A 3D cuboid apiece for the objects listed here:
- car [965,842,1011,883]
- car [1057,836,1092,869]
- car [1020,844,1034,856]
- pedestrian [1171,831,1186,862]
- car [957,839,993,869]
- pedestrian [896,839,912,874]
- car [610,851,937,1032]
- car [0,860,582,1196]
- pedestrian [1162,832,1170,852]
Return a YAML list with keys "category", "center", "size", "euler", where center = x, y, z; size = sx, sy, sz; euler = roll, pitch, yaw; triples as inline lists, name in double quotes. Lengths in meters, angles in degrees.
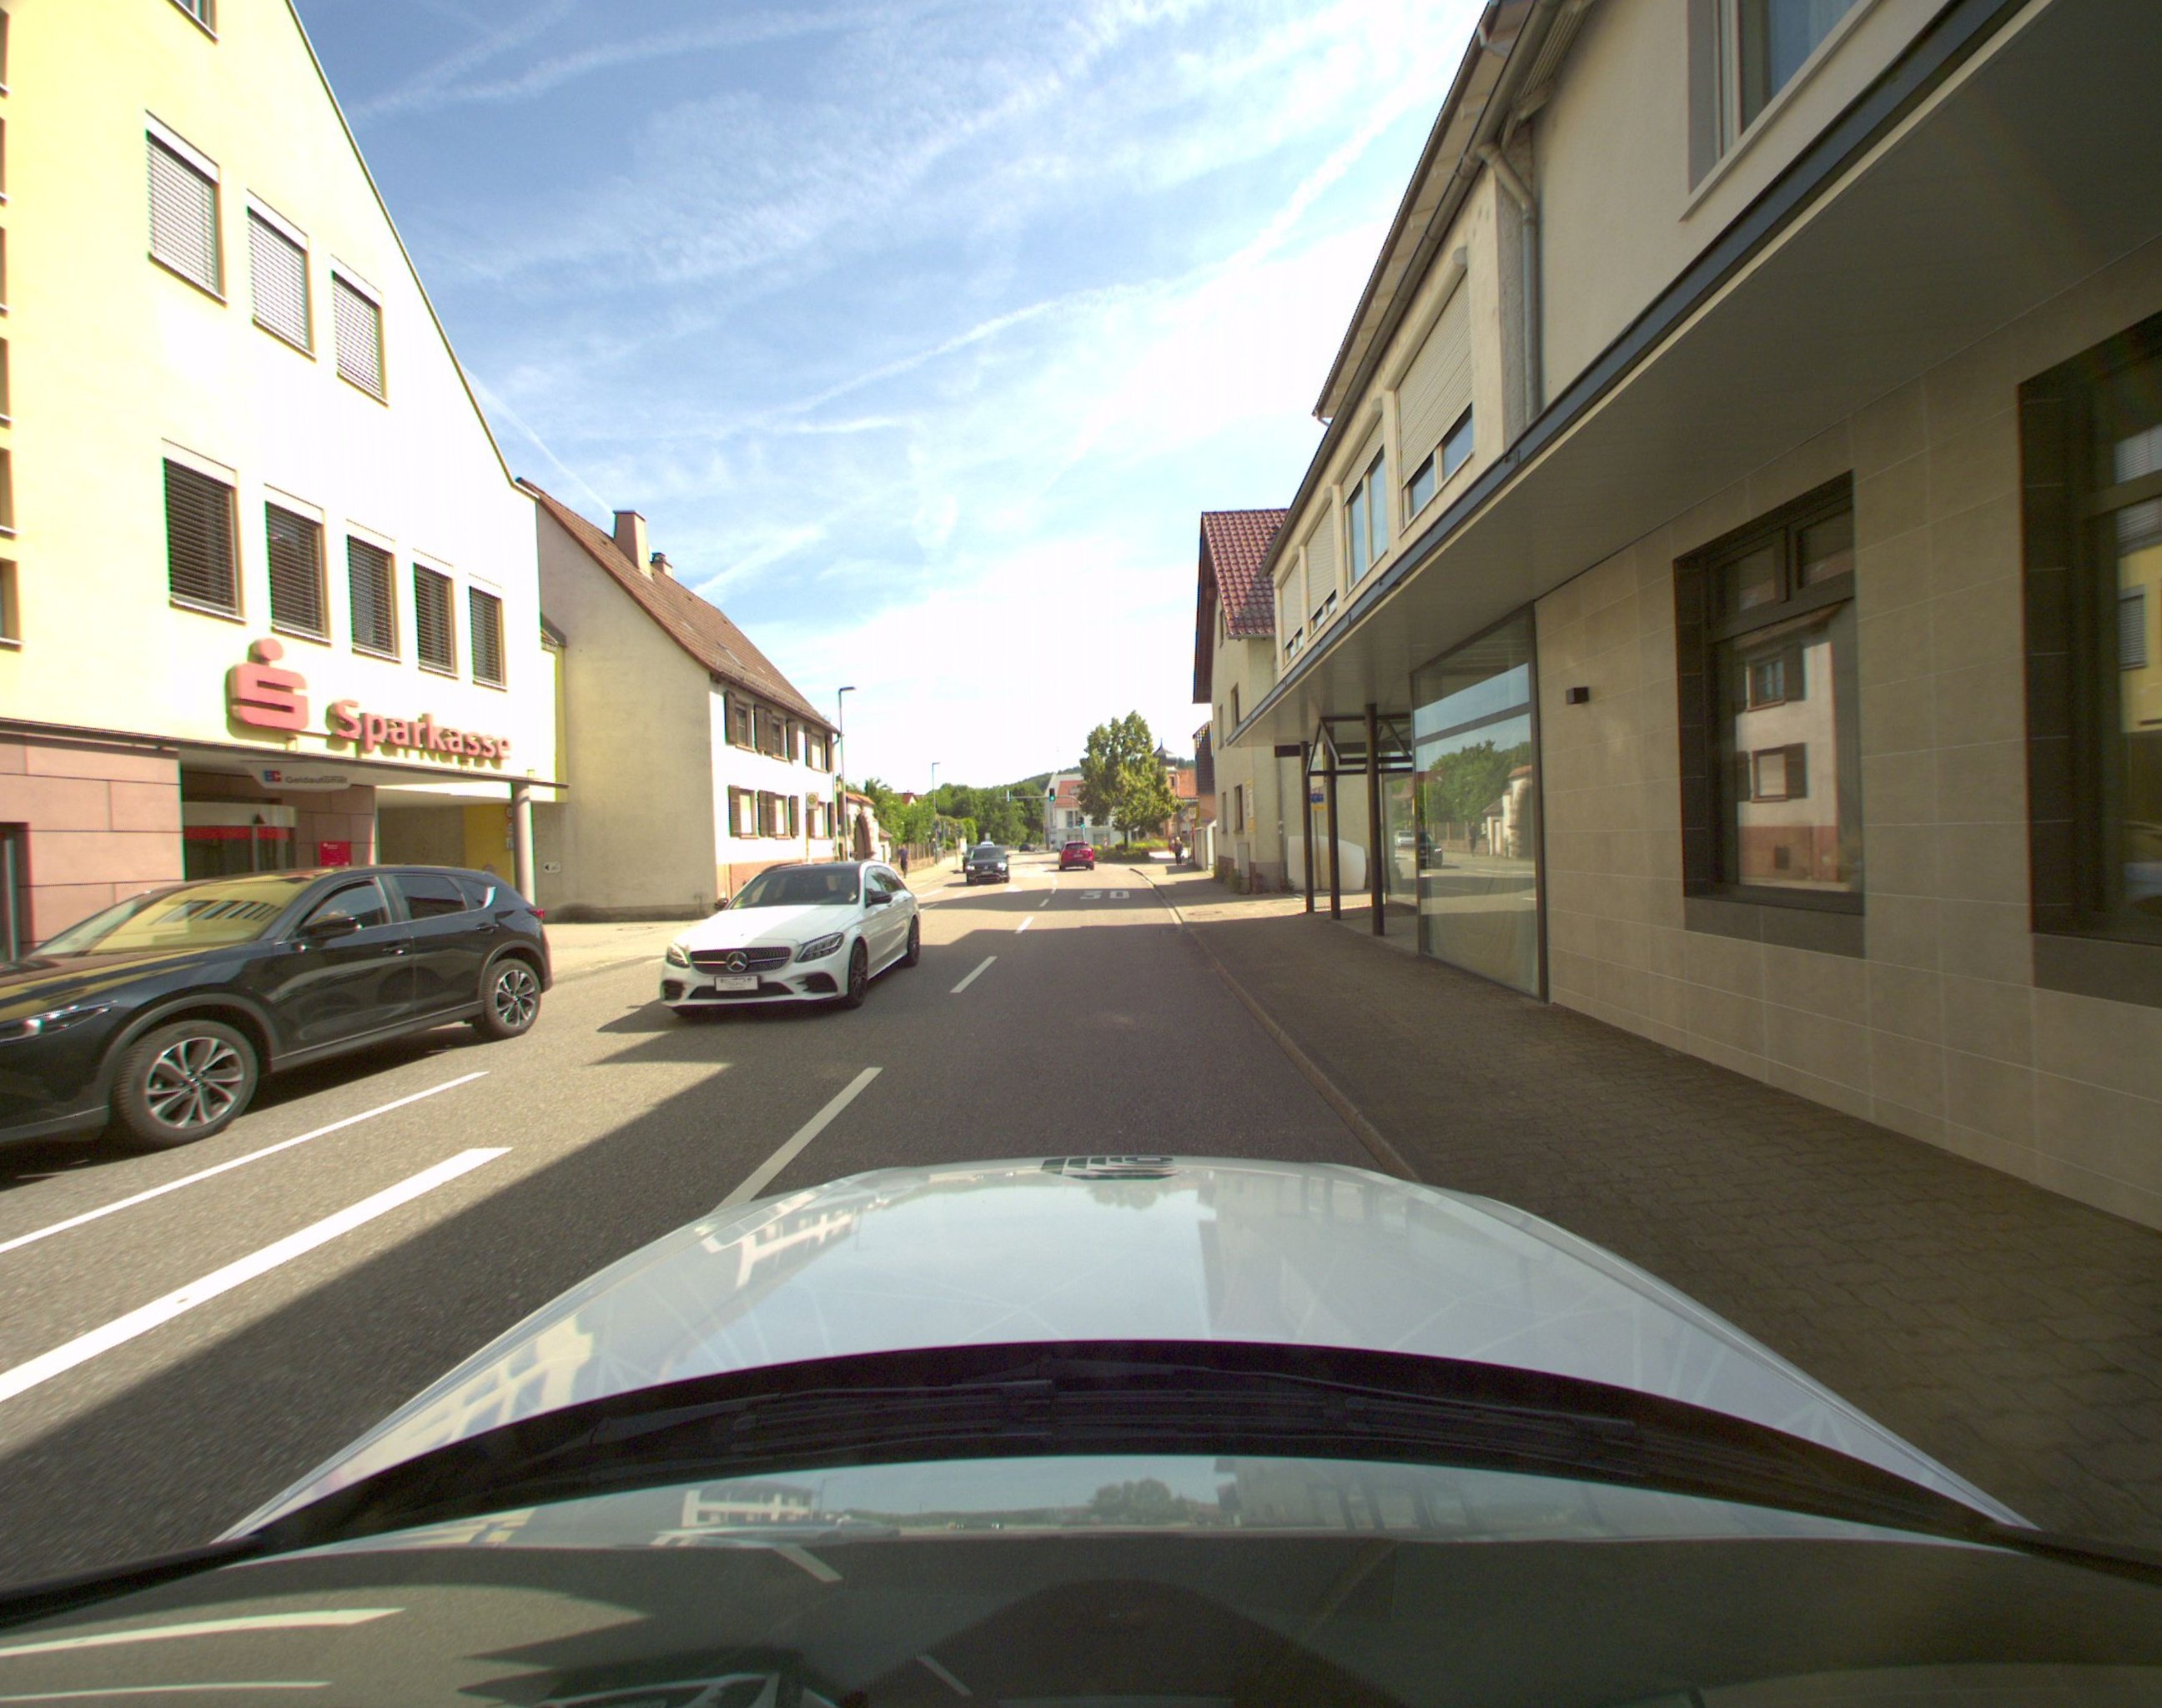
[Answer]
- category: "car"
  center: [-4.112, 0.321, 36.342]
  size: [1.837, 1.532, 4.244]
  euler: [-3, 2, -6]
- category: "car"
  center: [-0.374, -0.084, 46.165]
  size: [1.853, 1.714, 4.420]
  euler: [-1, 0, -1]
- category: "car"
  center: [-9.274, -0.695, 139.195]
  size: [1.925, 1.794, 3.957]
  euler: [-3, -2, 2]
- category: "pedestrian"
  center: [5.627, -0.425, 46.845]
  size: [0.641, 1.707, 0.699]
  euler: [-3, -2, -5]
- category: "car"
  center: [-6.745, -0.035, 51.984]
  size: [1.769, 1.784, 3.838]
  euler: [-2, 0, 0]
- category: "pedestrian"
  center: [-9.528, 0.127, 43.954]
  size: [0.664, 1.824, 0.797]
  euler: [-3, -2, -5]
- category: "car"
  center: [-3.116, 0.752, 9.644]
  size: [1.982, 1.444, 5.098]
  euler: [-3, 0, -2]
- category: "car"
  center: [-6.179, 0.921, 6.186]
  size: [1.861, 1.589, 4.518]
  euler: [-4, 0, 0]
- category: "pedestrian"
  center: [8.150, -1.113, 78.121]
  size: [0.641, 1.879, 0.651]
  euler: [-3, -2, -5]
